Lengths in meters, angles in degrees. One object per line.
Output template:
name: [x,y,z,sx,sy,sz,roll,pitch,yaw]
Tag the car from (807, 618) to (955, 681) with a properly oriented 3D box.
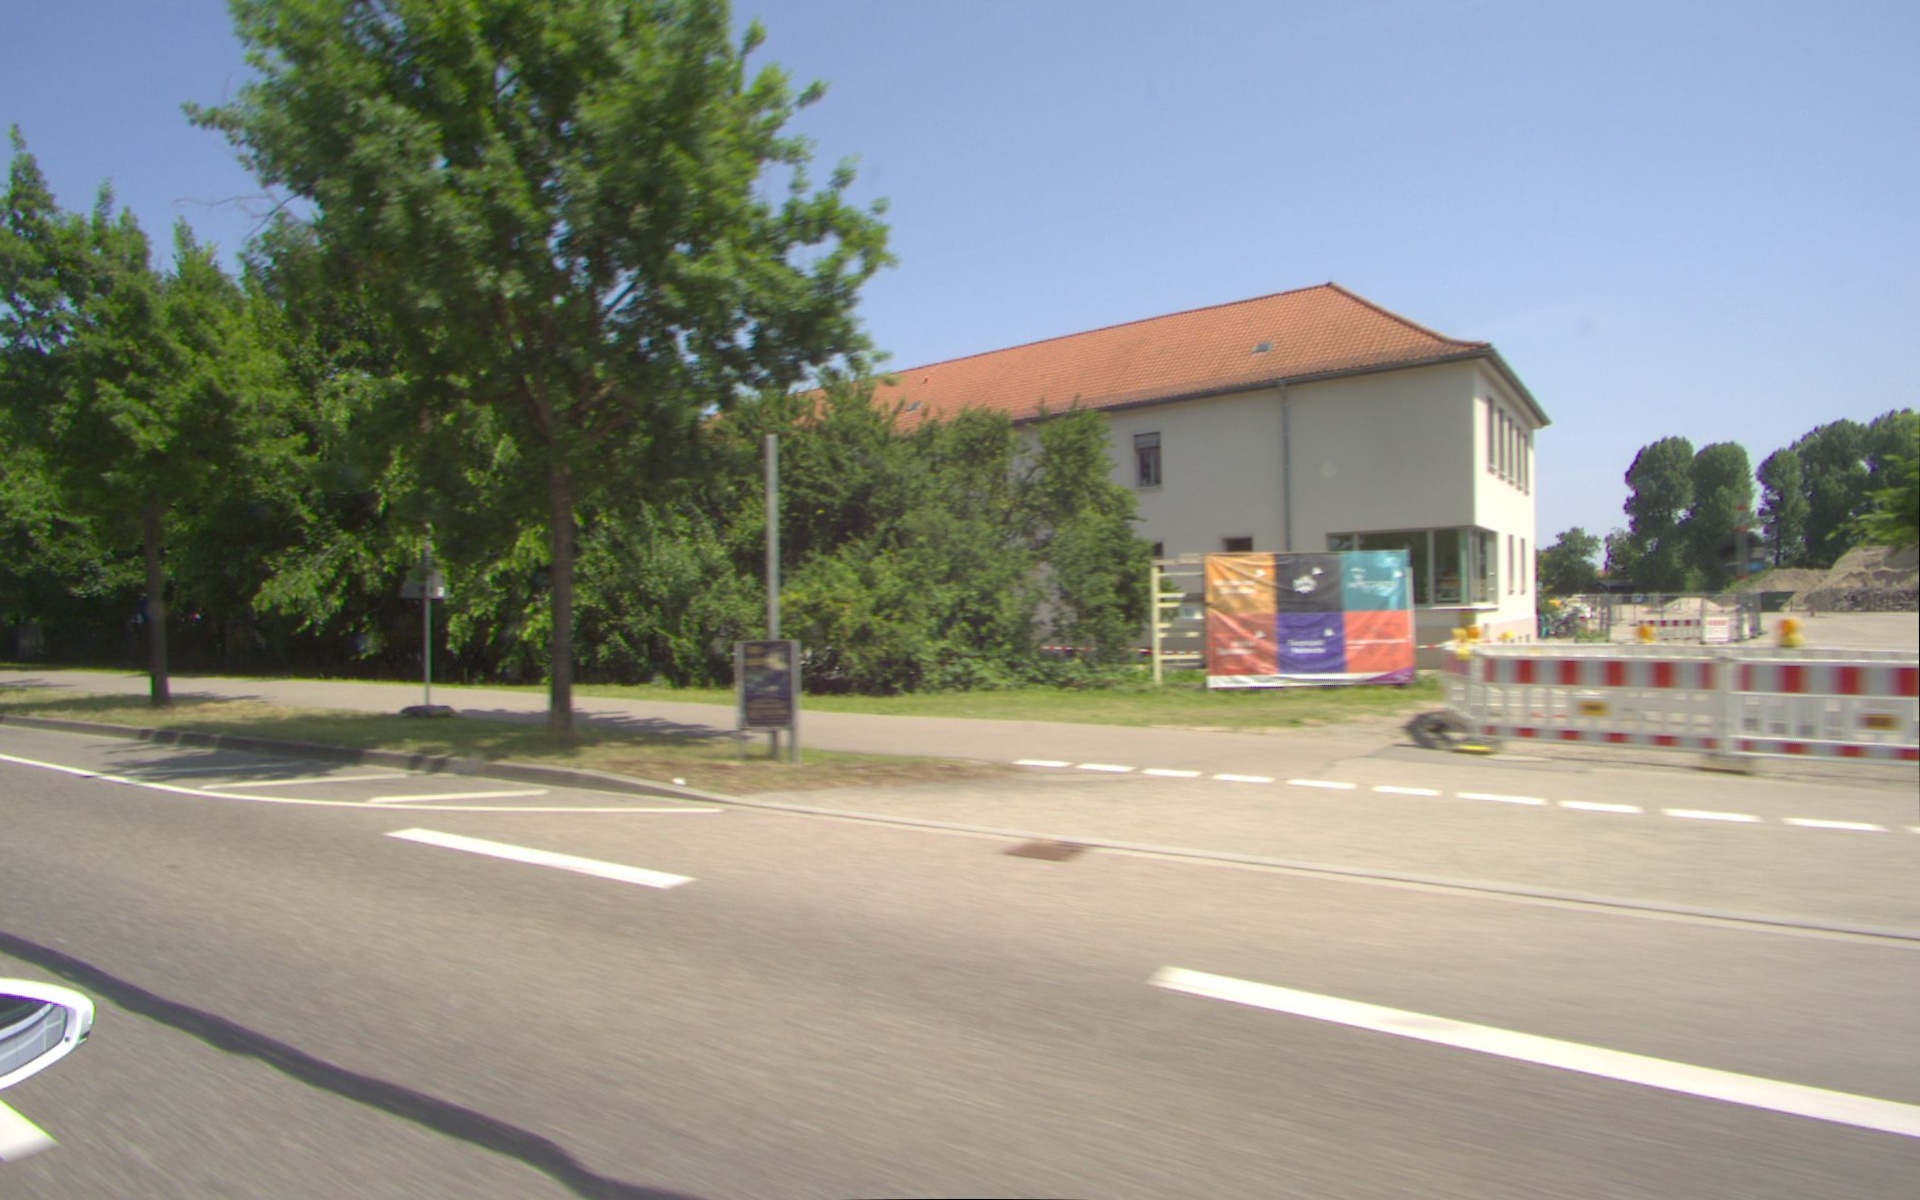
car: [-2.320,1.406,29.356,3.935,1.684,1.873,-1,0,-24]
